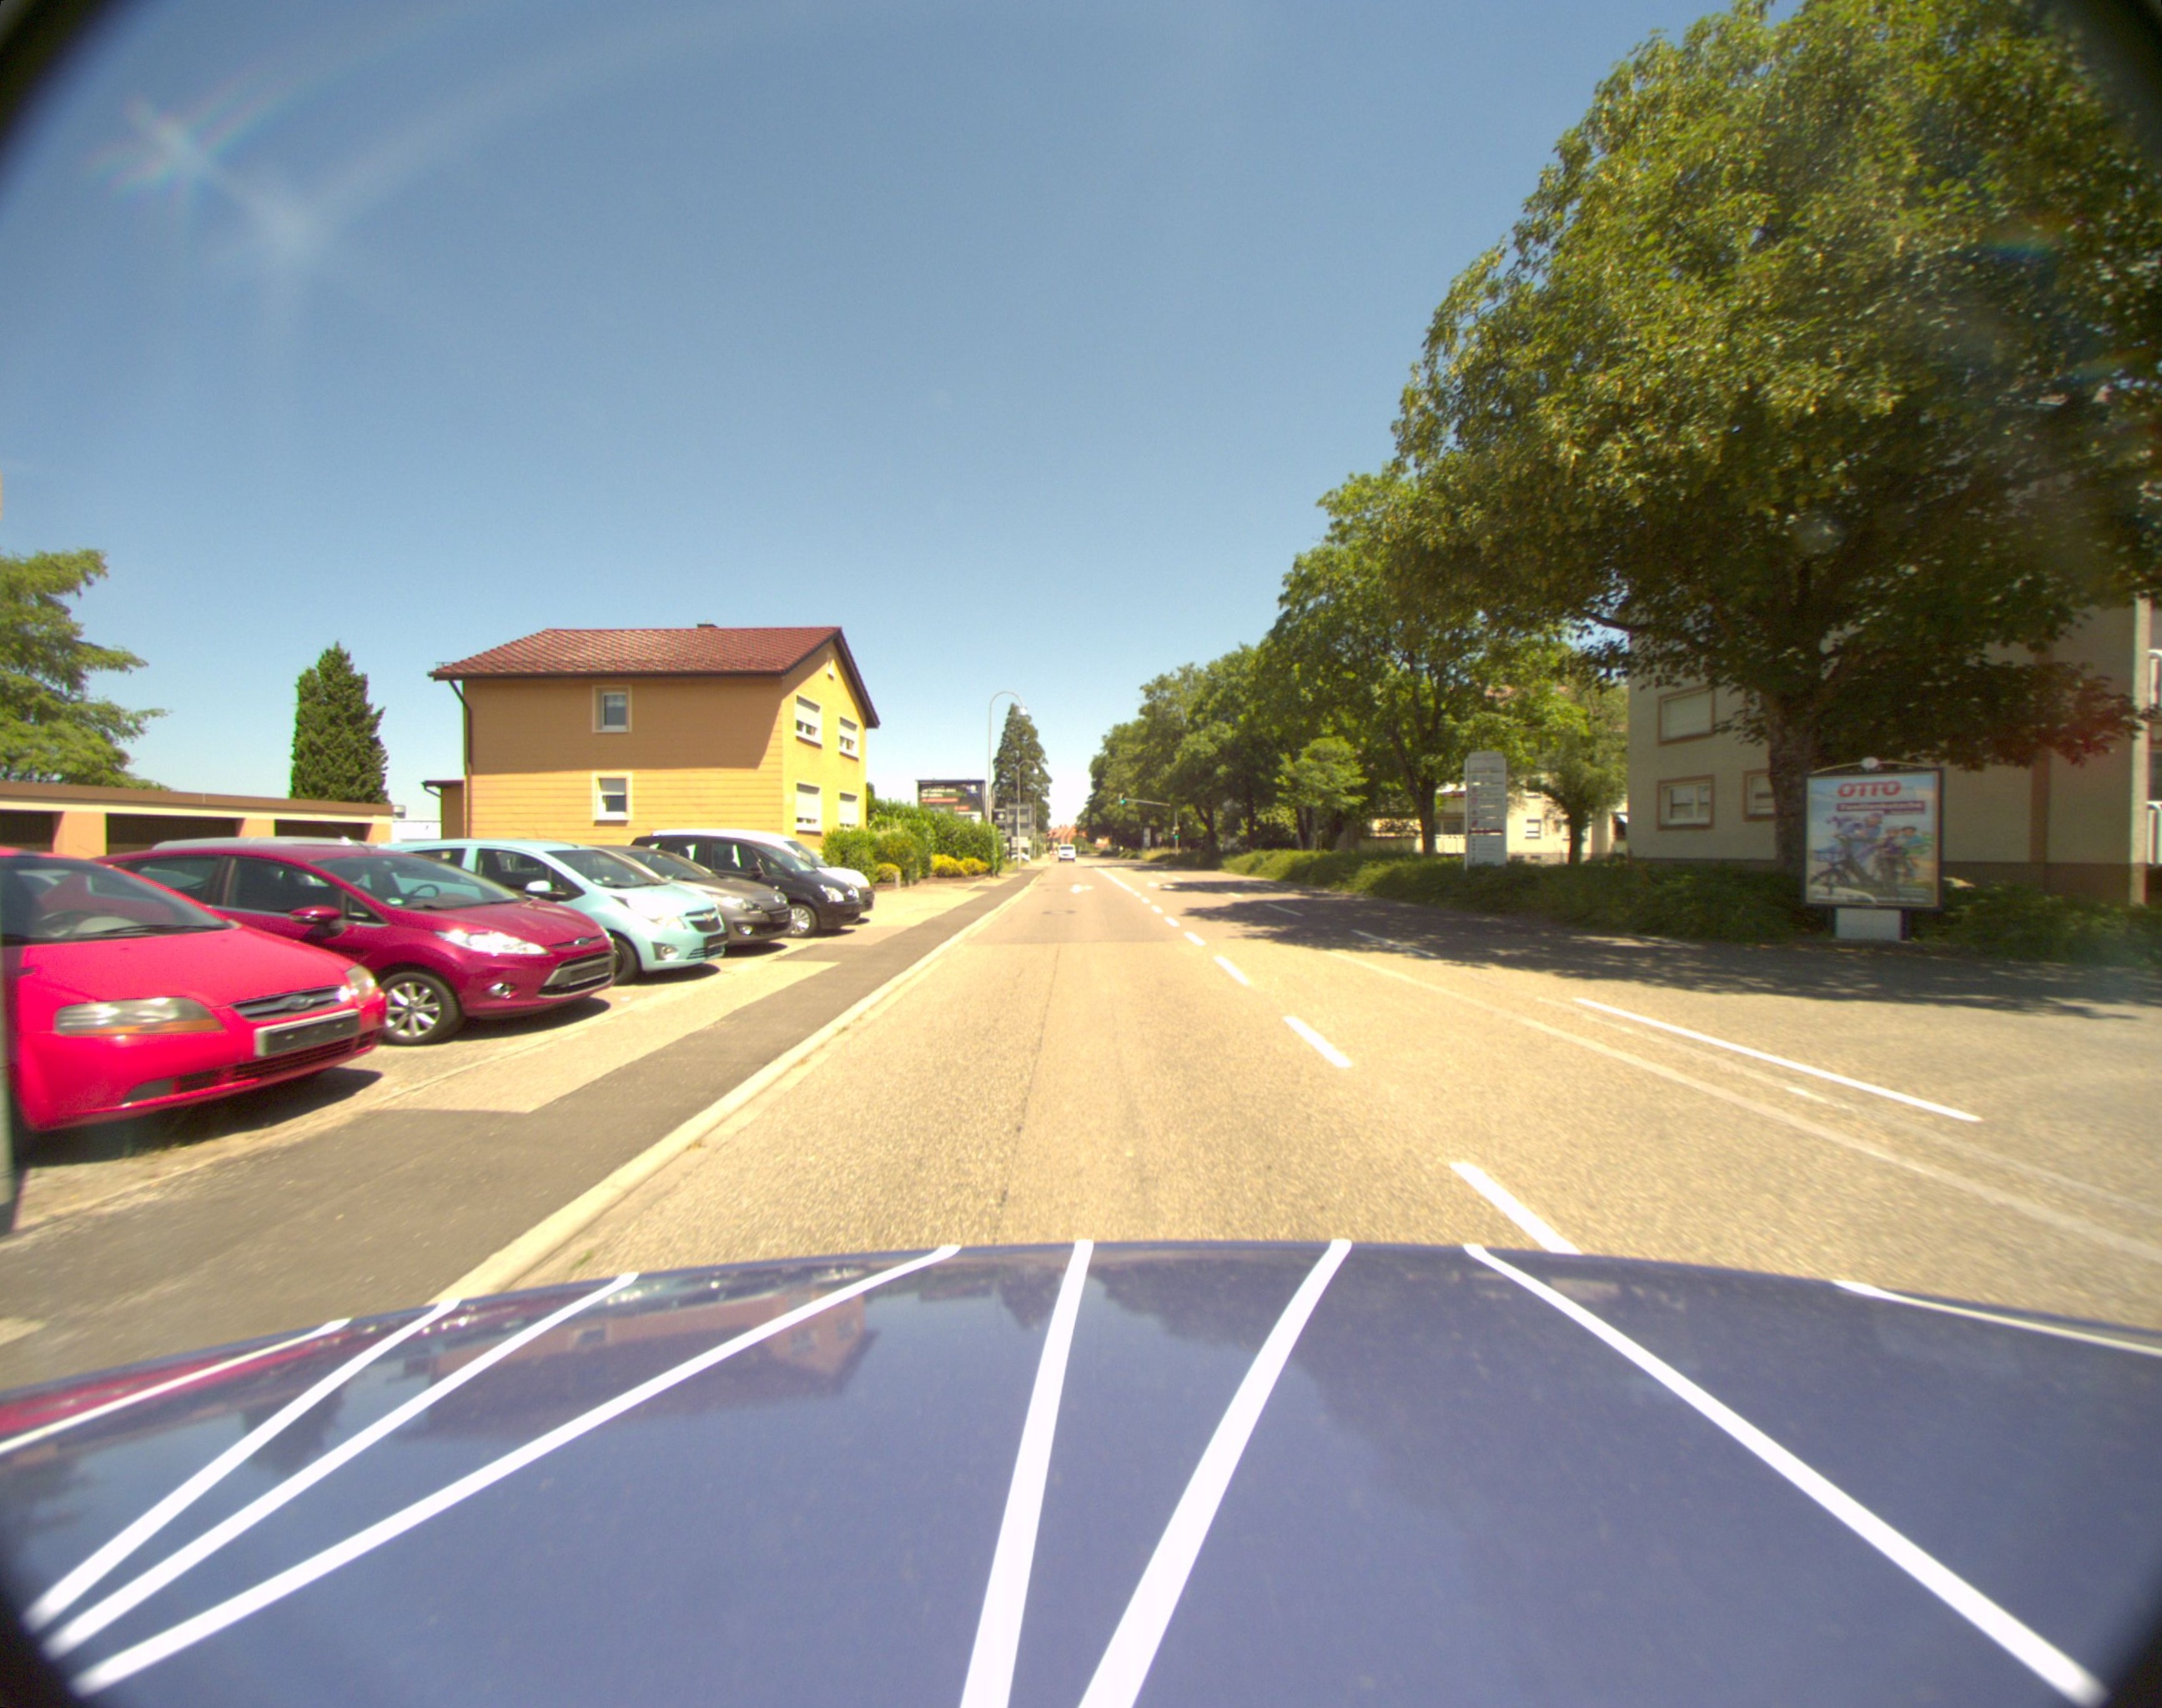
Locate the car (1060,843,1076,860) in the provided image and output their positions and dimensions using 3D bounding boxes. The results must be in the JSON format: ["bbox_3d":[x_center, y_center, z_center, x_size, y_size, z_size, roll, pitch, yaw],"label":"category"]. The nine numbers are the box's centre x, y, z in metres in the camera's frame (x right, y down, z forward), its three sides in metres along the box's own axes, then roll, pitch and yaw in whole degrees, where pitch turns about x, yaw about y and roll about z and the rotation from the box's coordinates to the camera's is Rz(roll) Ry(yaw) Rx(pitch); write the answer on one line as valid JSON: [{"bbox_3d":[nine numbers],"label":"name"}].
[{"bbox_3d":[-1.500,-0.265,87.428,1.796,1.904,3.639,-1,1,-1],"label":"car"}]

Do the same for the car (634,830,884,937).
[{"bbox_3d":[-6.177,0.540,15.000,4.146,1.927,1.807,-1,1,-5],"label":"car"}]

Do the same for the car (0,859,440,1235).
[{"bbox_3d":[-5.976,0.821,3.988,3.694,1.557,1.708,0,0,-3],"label":"car"}]

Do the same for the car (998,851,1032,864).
[{"bbox_3d":[-7.445,0.418,85.817,3.637,1.375,1.627,-1,1,1],"label":"car"}]

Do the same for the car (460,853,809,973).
[{"bbox_3d":[-6.052,0.749,10.648,3.801,1.501,1.833,0,0,1],"label":"car"}]

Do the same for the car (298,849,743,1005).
[{"bbox_3d":[-5.968,0.736,8.447,3.694,1.557,1.641,0,0,-2],"label":"car"}]

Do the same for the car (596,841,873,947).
[{"bbox_3d":[-5.707,0.635,12.907,3.886,1.671,1.763,0,0,-3],"label":"car"}]

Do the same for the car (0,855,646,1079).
[{"bbox_3d":[-5.967,0.807,6.294,3.695,1.557,1.749,0,0,-3],"label":"car"}]

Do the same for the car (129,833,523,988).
[{"bbox_3d":[-10.637,0.743,10.909,3.903,1.827,1.688,-4,1,2],"label":"car"}]

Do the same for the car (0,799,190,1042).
[{"bbox_3d":[-10.561,0.644,6.040,4.352,1.885,1.971,-4,1,-2],"label":"car"}]
